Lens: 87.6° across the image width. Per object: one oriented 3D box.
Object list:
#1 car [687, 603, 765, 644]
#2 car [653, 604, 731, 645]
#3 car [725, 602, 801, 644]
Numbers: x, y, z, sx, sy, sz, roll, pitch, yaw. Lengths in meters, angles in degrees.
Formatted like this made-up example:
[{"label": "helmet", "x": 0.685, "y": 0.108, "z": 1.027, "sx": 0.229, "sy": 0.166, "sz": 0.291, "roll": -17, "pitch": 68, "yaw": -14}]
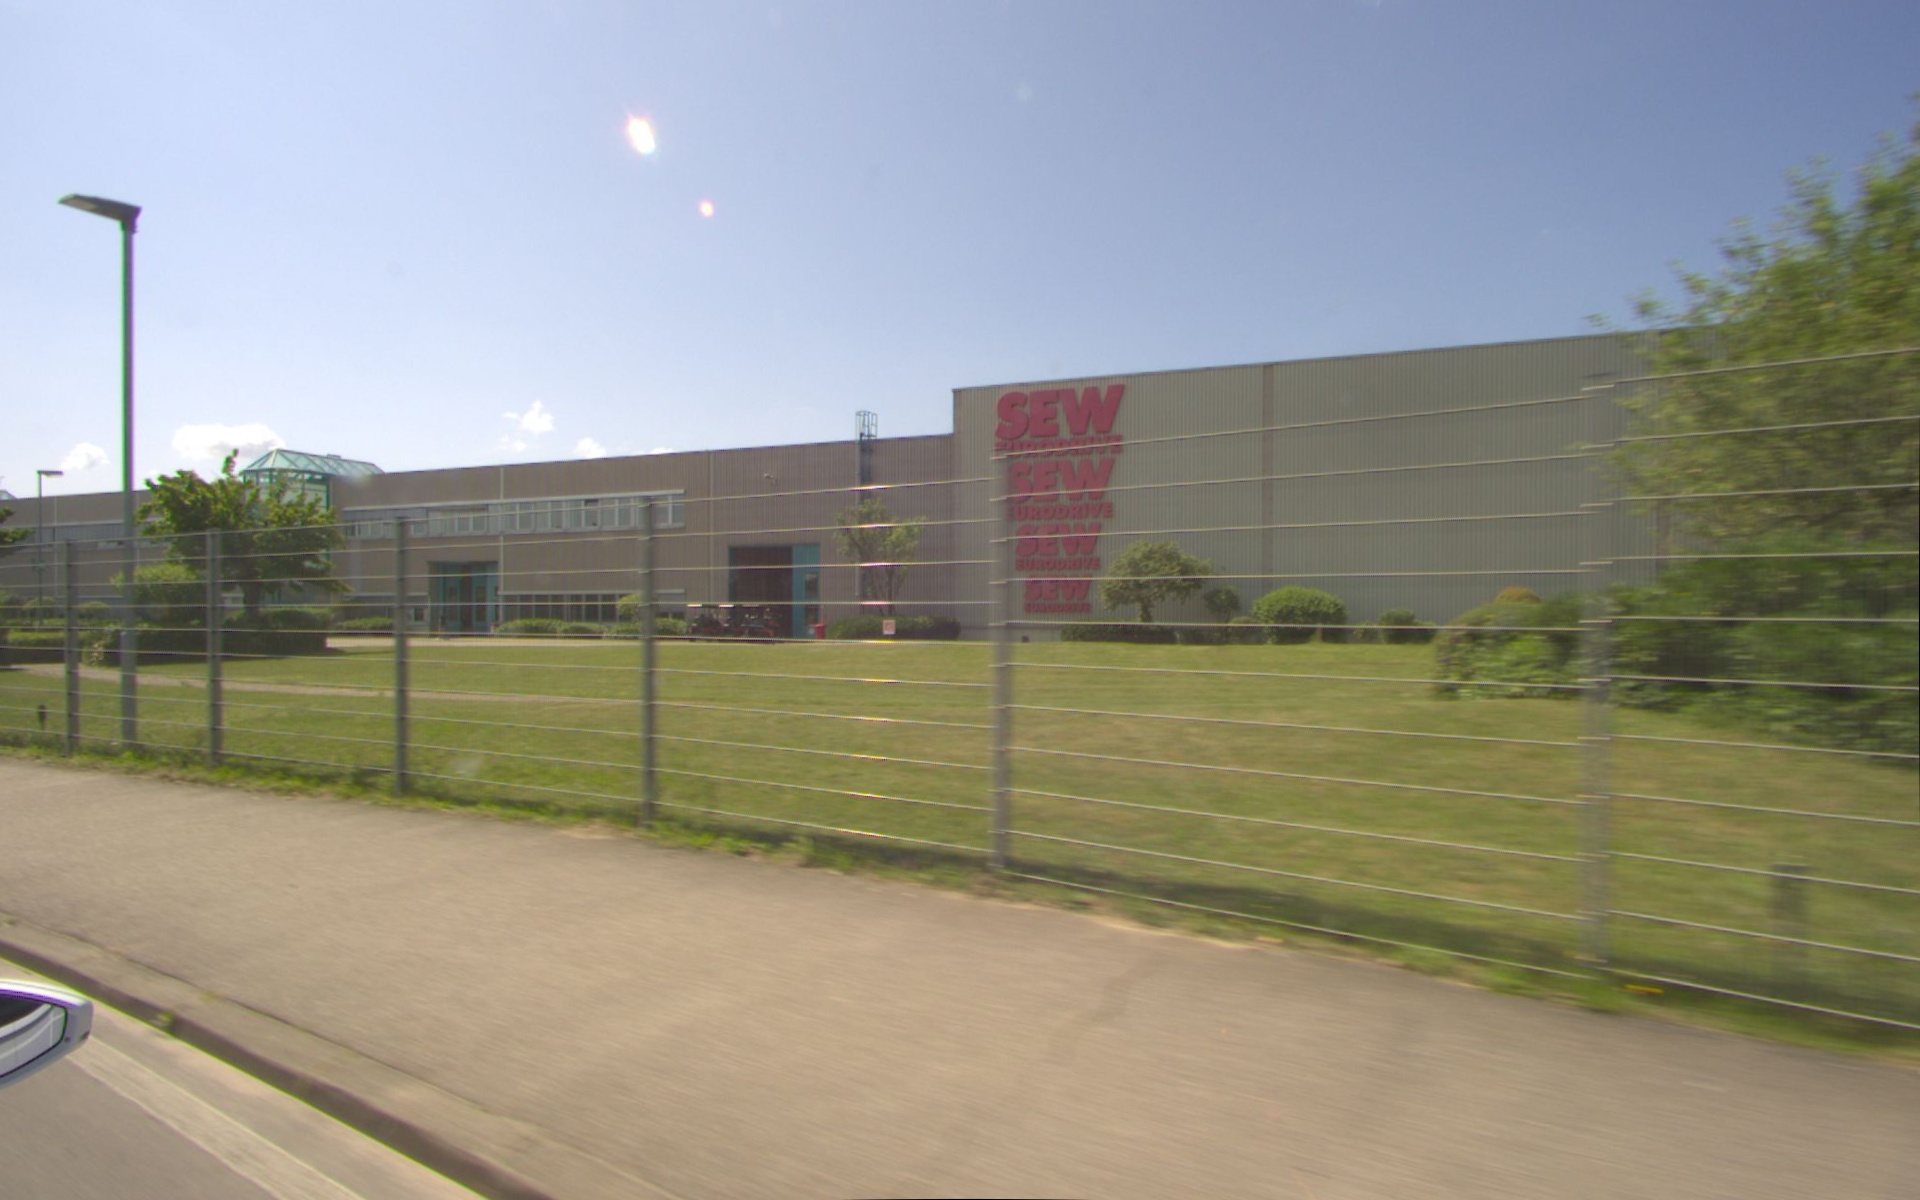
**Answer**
[{"label": "car", "x": -11.985, "y": 1.185, "z": 51.489, "sx": 1.937, "sy": 2.040, "sz": 4.164, "roll": 0, "pitch": -1, "yaw": 20}, {"label": "car", "x": -13.966, "y": 1.248, "z": 52.432, "sx": 1.937, "sy": 2.040, "sz": 4.164, "roll": 0, "pitch": -1, "yaw": 20}, {"label": "car", "x": -9.959, "y": 1.127, "z": 50.891, "sx": 1.937, "sy": 2.040, "sz": 4.164, "roll": 0, "pitch": -1, "yaw": 20}]
